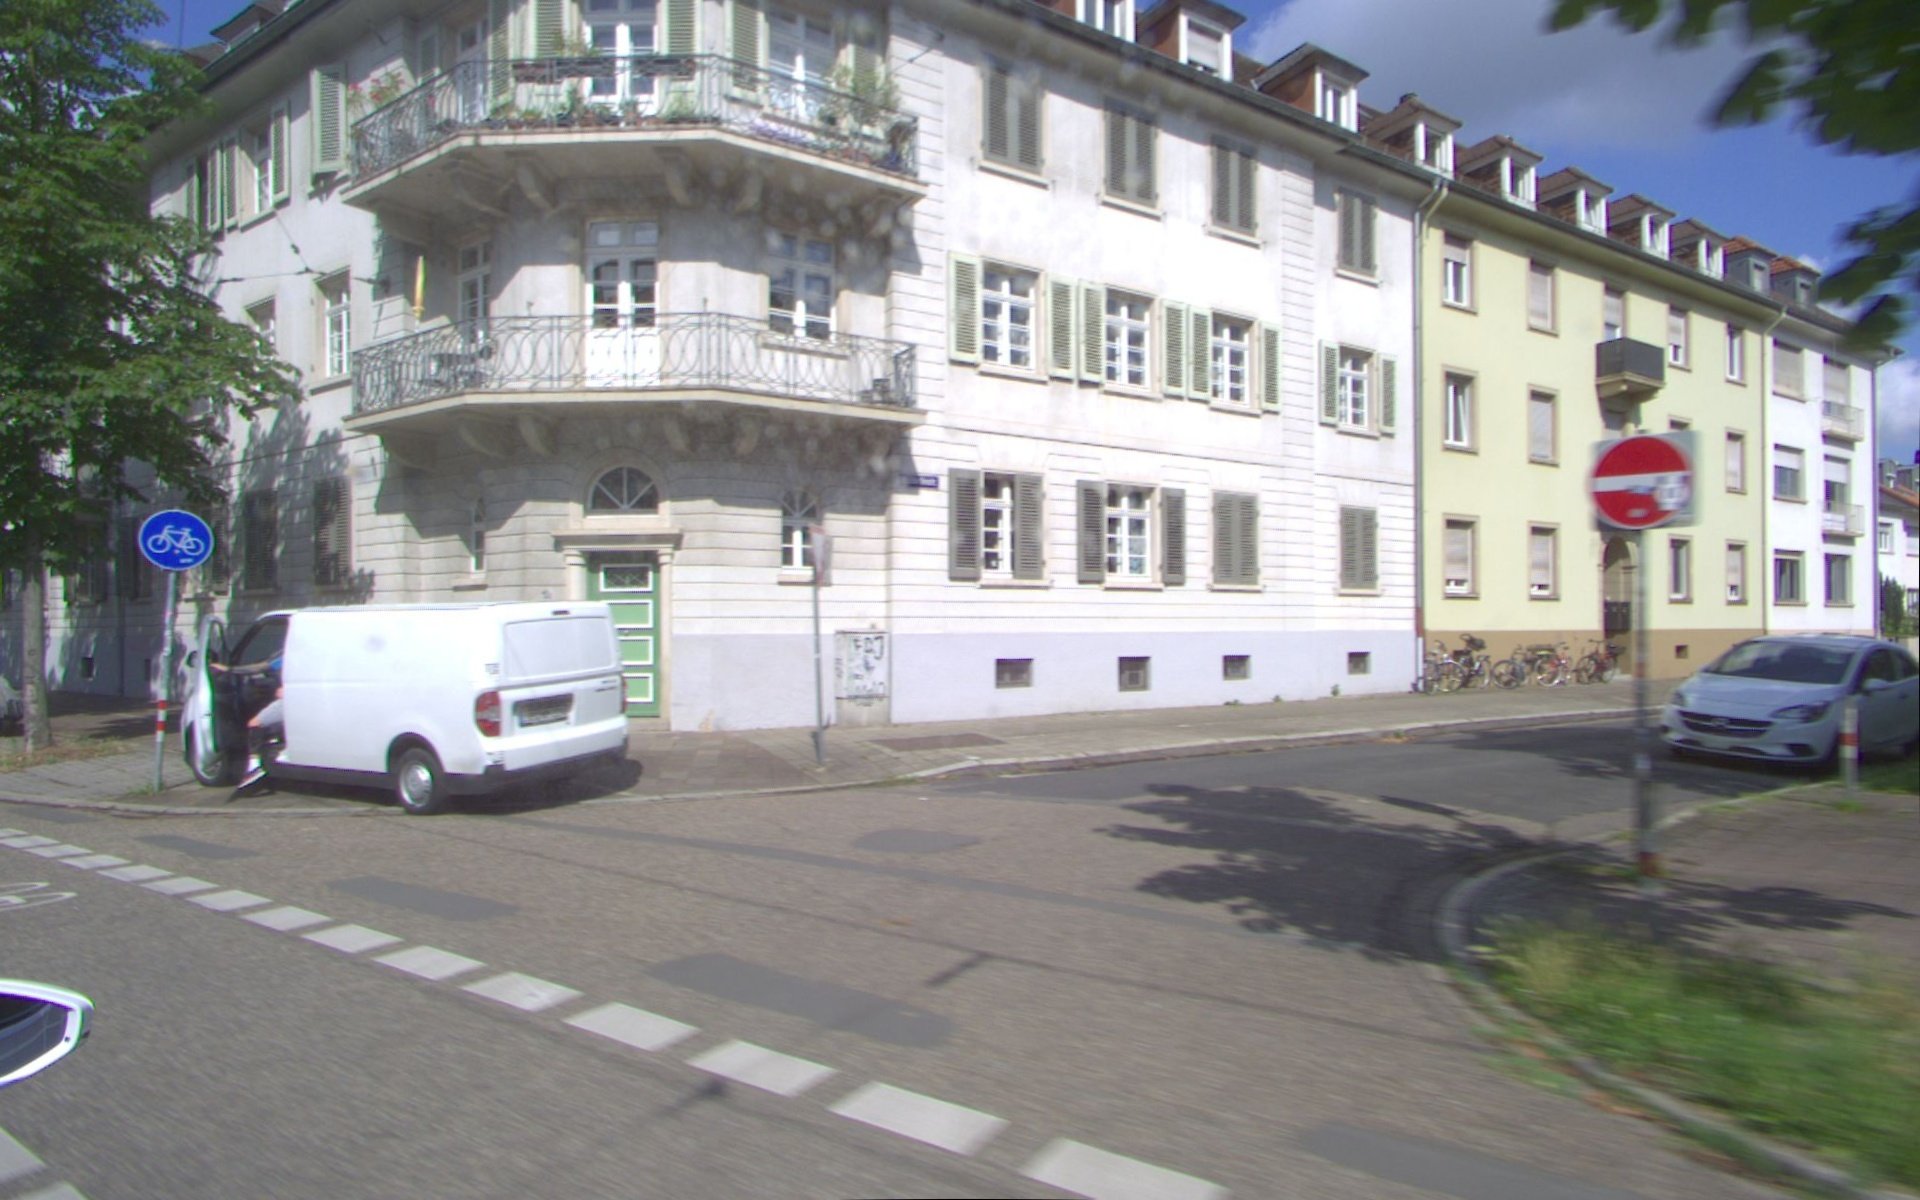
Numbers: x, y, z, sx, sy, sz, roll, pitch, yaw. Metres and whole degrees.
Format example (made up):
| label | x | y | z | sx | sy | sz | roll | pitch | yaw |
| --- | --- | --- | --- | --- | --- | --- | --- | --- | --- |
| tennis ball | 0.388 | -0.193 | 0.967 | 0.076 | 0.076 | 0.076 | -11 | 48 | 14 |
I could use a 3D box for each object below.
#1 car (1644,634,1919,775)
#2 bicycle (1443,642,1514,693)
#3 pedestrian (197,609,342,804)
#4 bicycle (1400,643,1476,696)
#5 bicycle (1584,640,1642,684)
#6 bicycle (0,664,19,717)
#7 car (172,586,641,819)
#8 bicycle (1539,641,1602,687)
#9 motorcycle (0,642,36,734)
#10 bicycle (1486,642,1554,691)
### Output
| label | x | y | z | sx | sy | sz | roll | pitch | yaw |
| --- | --- | --- | --- | --- | --- | --- | --- | --- | --- |
| car | 10.140 | 1.140 | 11.991 | 3.942 | 1.428 | 1.645 | 1 | -3 | -30 |
| bicycle | 11.547 | 1.480 | 22.270 | 2.107 | 1.047 | 0.533 | 1 | -1 | -36 |
| pedestrian | -6.956 | 1.031 | 10.110 | 0.946 | 1.859 | 0.815 | 0 | -1 | 24 |
| bicycle | 10.137 | 1.446 | 21.200 | 2.107 | 1.047 | 0.533 | 1 | -1 | -36 |
| bicycle | 16.615 | 1.558 | 25.468 | 2.107 | 1.047 | 0.533 | 1 | -1 | -36 |
| bicycle | -17.072 | 1.532 | 16.450 | 0.662 | 0.872 | 2.271 | -1 | -2 | 31 |
| car | -5.785 | 0.909 | 10.343 | 4.911 | 1.963 | 1.787 | -1 | -1 | 27 |
| bicycle | 14.830 | 1.532 | 24.301 | 2.107 | 1.047 | 0.533 | 1 | -1 | -36 |
| motorcycle | -14.644 | 1.277 | 14.857 | 2.388 | 1.287 | 0.793 | -1 | -1 | 32 |
| bicycle | 12.955 | 1.514 | 23.147 | 2.107 | 1.047 | 0.533 | 1 | -1 | -36 |
